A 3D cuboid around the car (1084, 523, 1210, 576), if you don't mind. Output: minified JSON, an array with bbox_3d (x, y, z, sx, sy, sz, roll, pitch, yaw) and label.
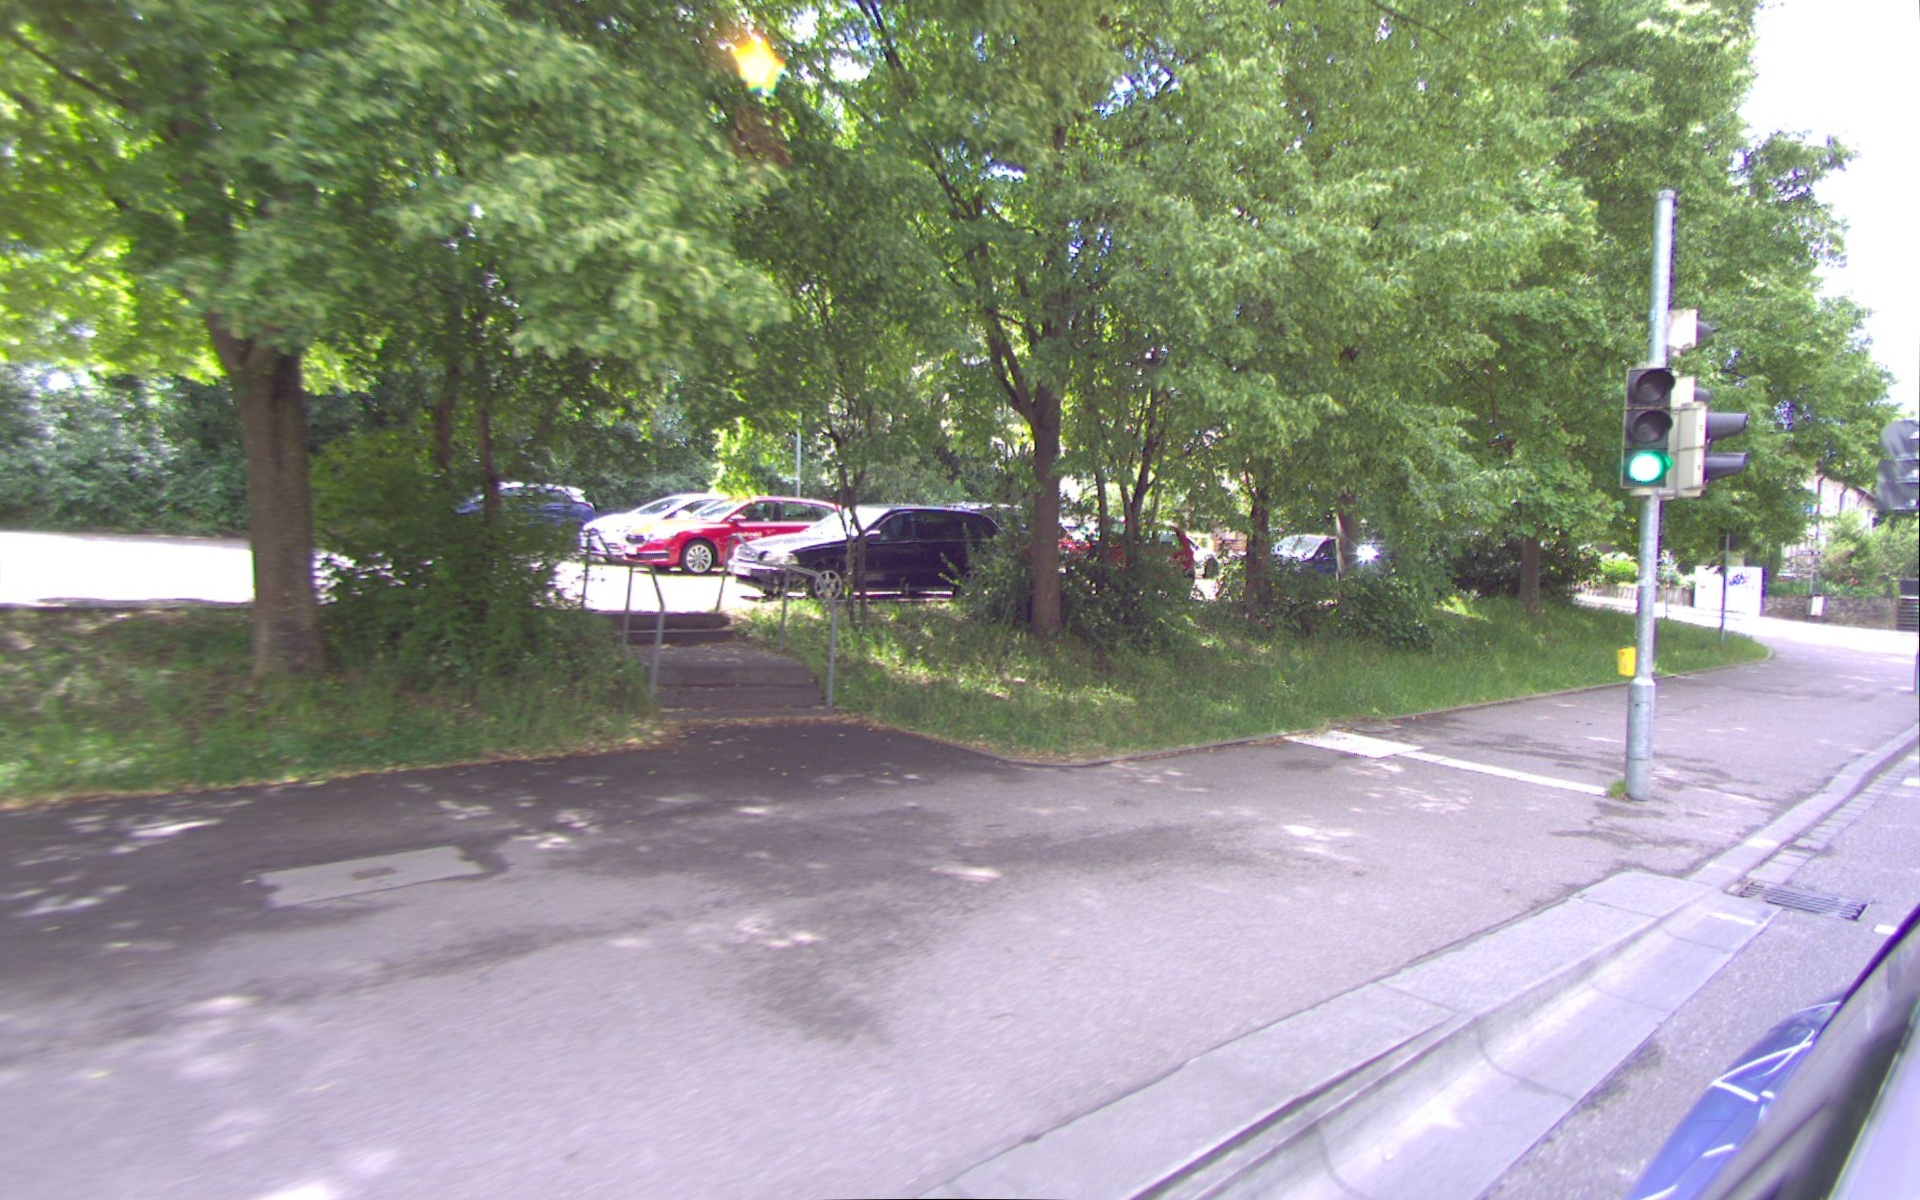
[{"bbox_3d":[5.673,-1.544,30.441,3.859,1.436,1.620,-3,7,-40],"label":"car"}]

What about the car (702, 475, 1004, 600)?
[{"bbox_3d":[-1.437,-0.858,14.544,4.066,1.532,1.631,0,6,-41],"label":"car"}]

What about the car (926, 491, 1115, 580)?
[{"bbox_3d":[1.286,-1.300,20.761,3.598,1.601,1.757,0,5,-41],"label":"car"}]

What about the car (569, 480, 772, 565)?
[{"bbox_3d":[-5.827,-1.554,20.567,3.598,1.495,1.635,0,5,-41],"label":"car"}]

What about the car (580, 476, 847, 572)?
[{"bbox_3d":[-4.461,-1.361,18.743,4.464,1.495,1.757,0,5,-41],"label":"car"}]

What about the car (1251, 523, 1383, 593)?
[{"bbox_3d":[9.635,-1.137,27.199,3.841,1.653,1.682,-2,8,-43],"label":"car"}]

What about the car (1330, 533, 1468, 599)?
[{"bbox_3d":[11.107,-0.899,25.543,3.751,1.529,1.826,-2,5,-43],"label":"car"}]

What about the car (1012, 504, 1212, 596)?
[{"bbox_3d":[2.879,-0.902,18.851,3.598,1.518,1.665,0,5,-41],"label":"car"}]

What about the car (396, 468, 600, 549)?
[{"bbox_3d":[-11.047,-2.128,24.344,4.030,1.644,2.063,0,3,-42],"label":"car"}]
